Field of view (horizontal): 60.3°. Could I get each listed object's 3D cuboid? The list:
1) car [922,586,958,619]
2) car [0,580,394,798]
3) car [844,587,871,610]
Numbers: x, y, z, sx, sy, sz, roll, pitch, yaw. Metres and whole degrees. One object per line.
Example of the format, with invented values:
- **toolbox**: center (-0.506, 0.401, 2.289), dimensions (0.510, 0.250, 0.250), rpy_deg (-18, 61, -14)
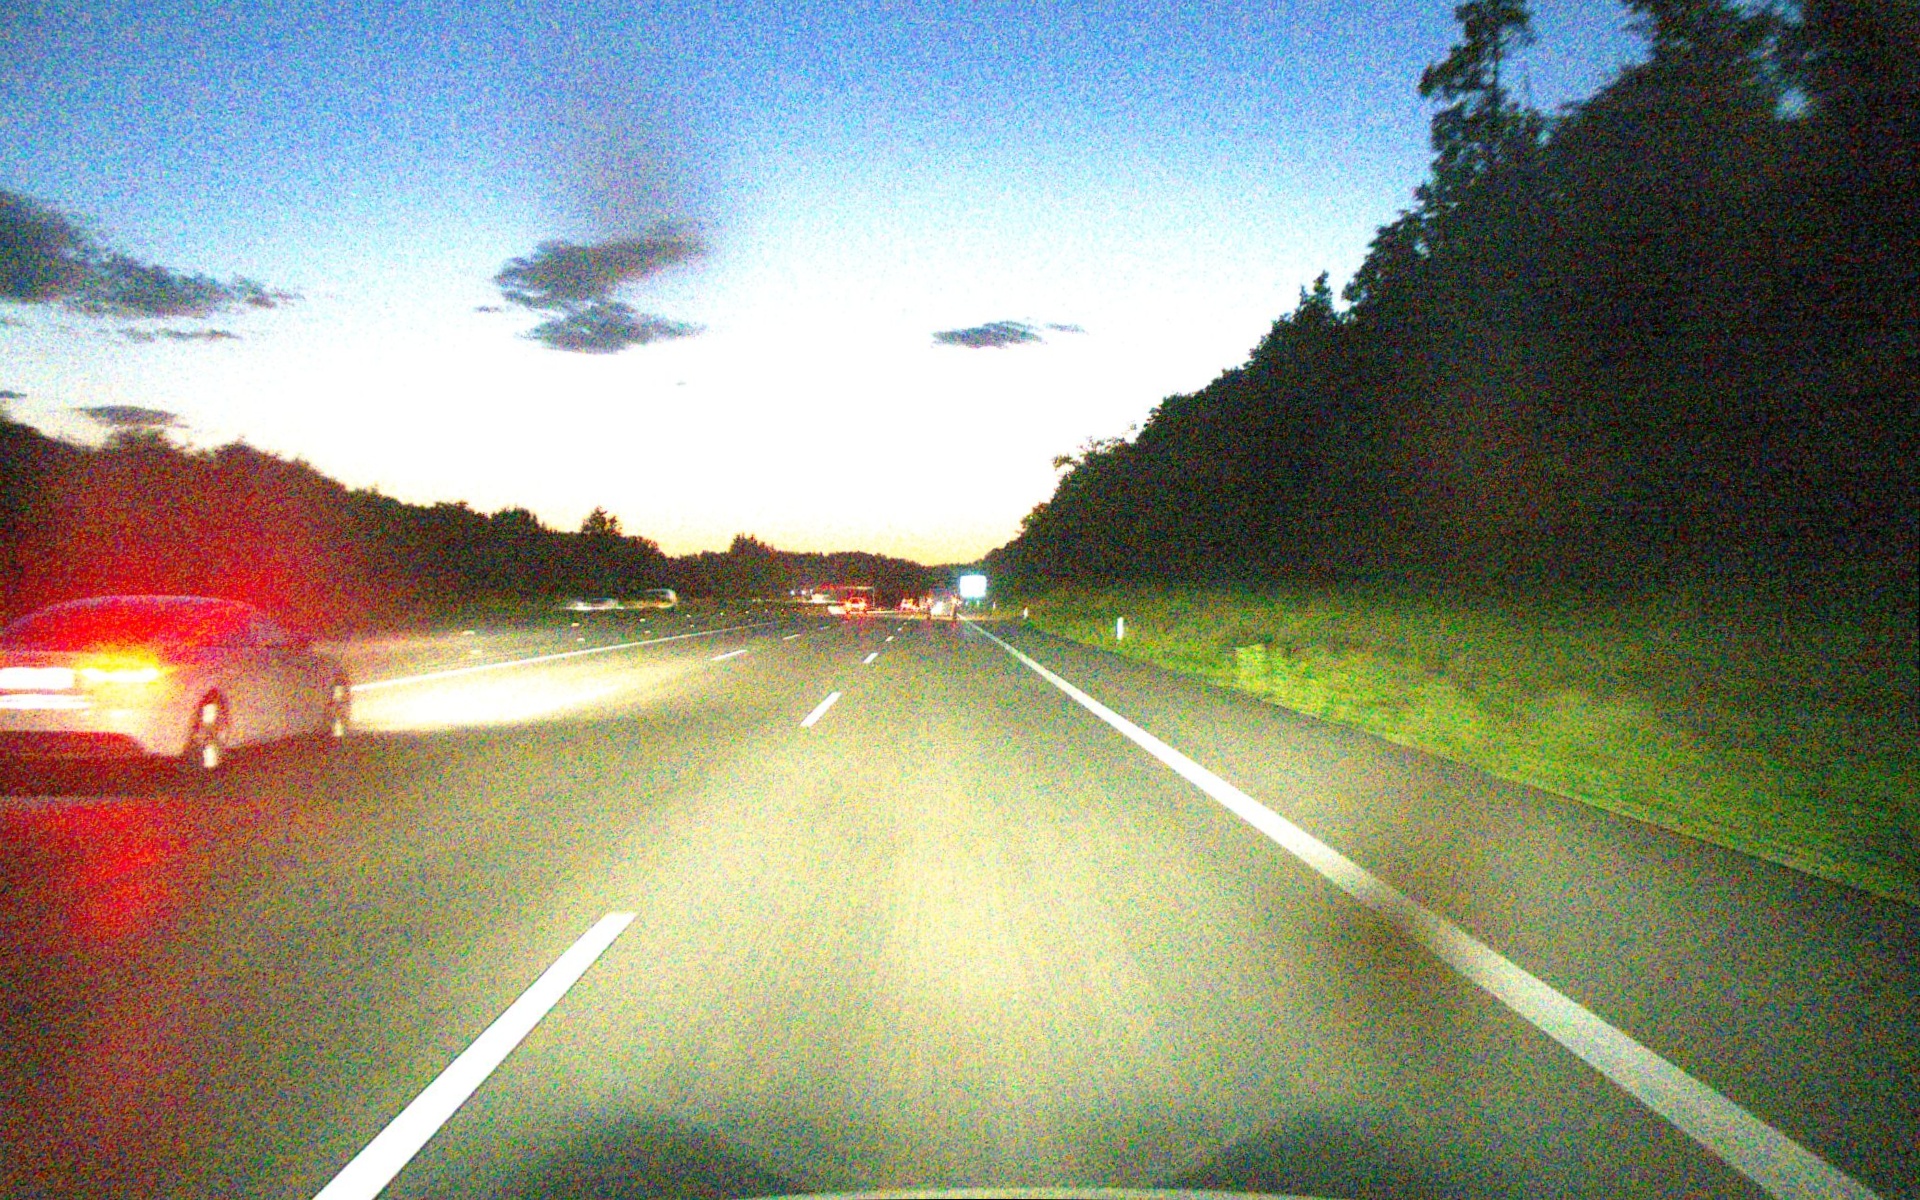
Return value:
- **car**: center (-1.258, 0.144, 107.445), dimensions (2.152, 1.989, 4.763), rpy_deg (-3, 0, 1)
- **car**: center (-6.611, 0.606, 14.204), dimensions (1.743, 1.513, 5.252), rpy_deg (1, 0, -1)
- **car**: center (-9.318, -0.154, 150.656), dimensions (2.152, 1.989, 4.632), rpy_deg (1, 0, -1)
